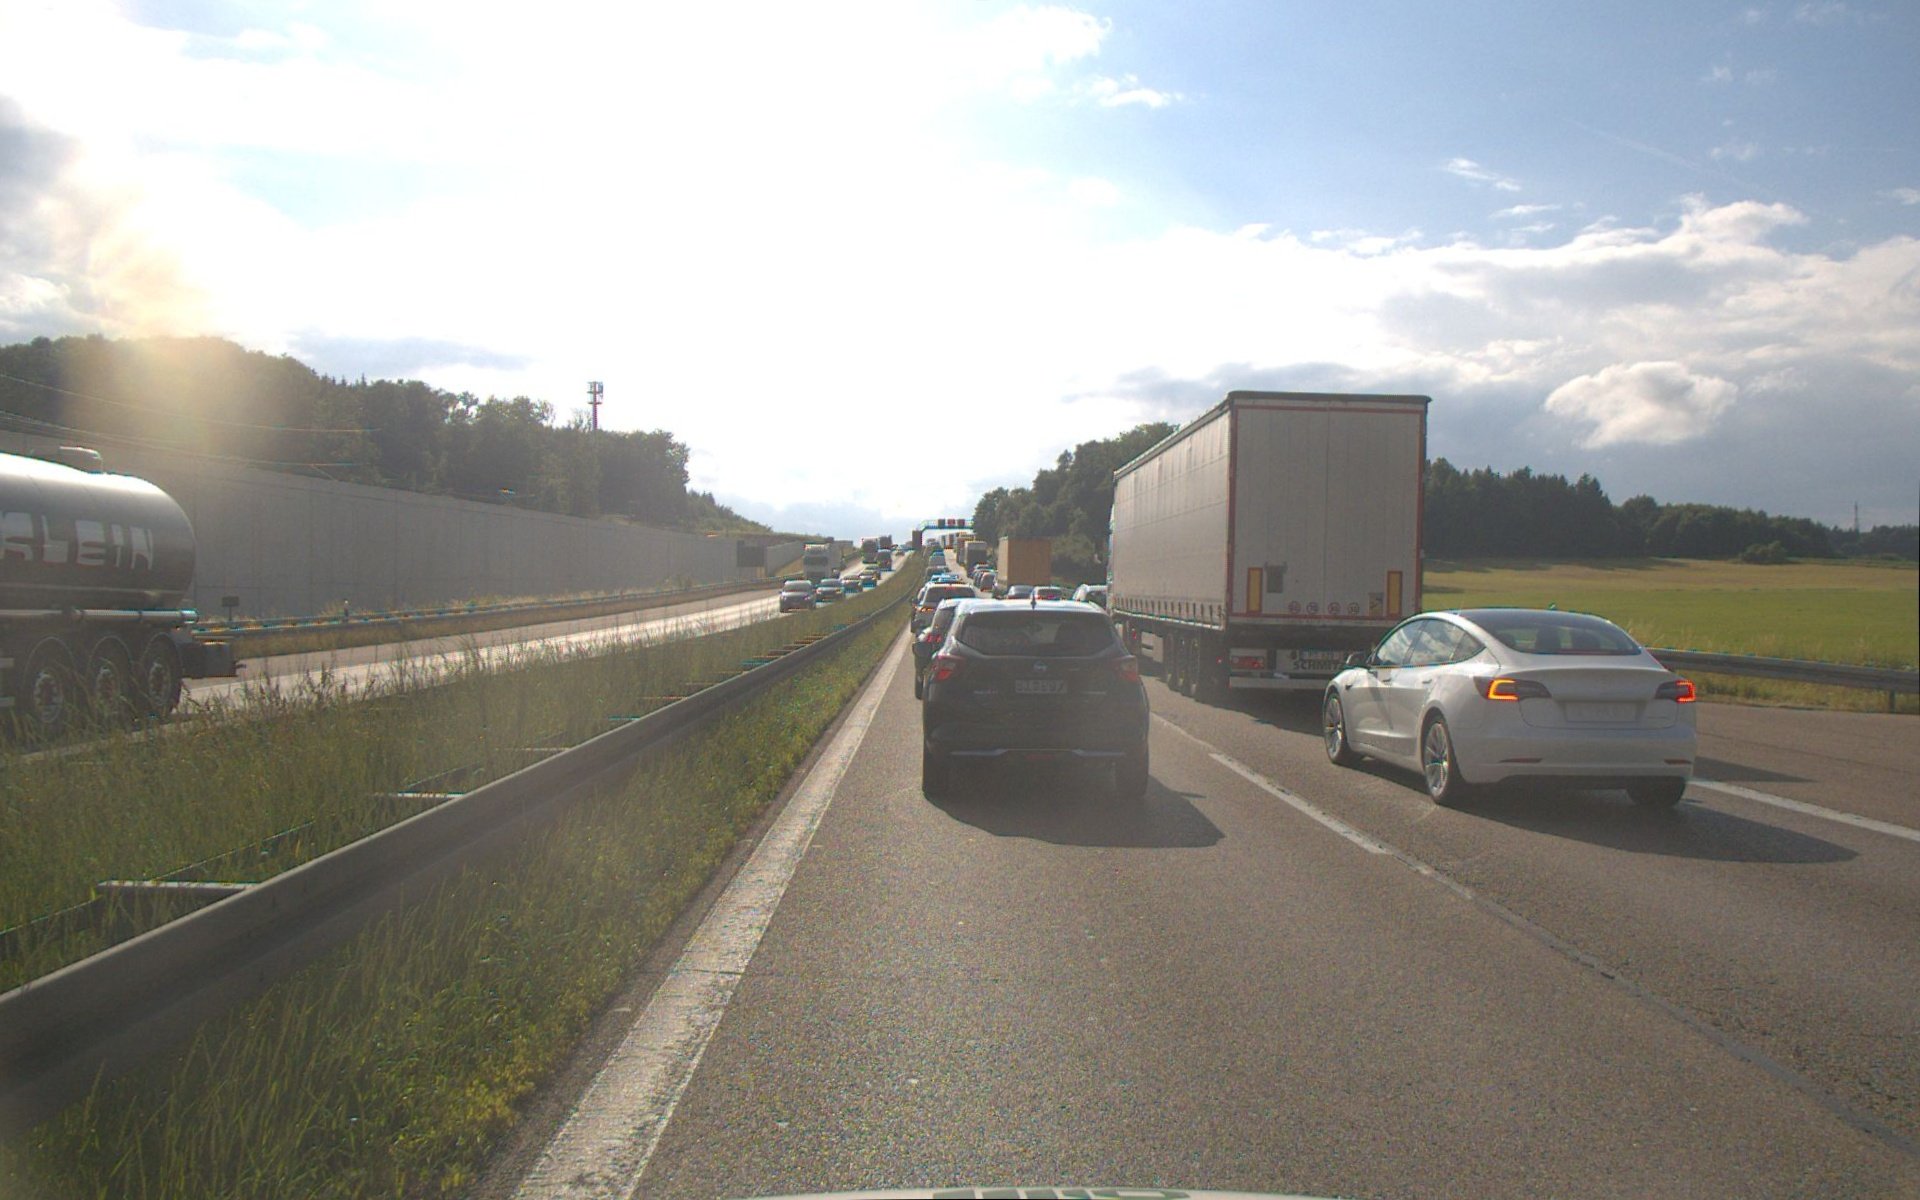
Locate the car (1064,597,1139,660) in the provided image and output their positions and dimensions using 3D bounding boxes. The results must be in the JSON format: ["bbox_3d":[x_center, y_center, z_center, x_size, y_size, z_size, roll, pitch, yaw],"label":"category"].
[{"bbox_3d":[3.770,0.735,44.704,1.663,1.639,4.437,0,0,0],"label":"car"}]

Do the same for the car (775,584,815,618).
[{"bbox_3d":[-8.934,0.052,89.784,1.744,1.767,4.101,0,0,-1],"label":"car"}]

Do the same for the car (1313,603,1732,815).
[{"bbox_3d":[4.342,0.758,13.574,1.753,1.418,4.434,0,0,-3],"label":"car"}]

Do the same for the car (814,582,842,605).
[{"bbox_3d":[-9.015,-0.418,113.193,1.663,1.525,4.426,0,0,-1],"label":"car"}]

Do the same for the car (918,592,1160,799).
[{"bbox_3d":[0.543,0.685,13.930,1.737,1.476,4.231,0,0,-1],"label":"car"}]

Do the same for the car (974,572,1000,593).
[{"bbox_3d":[2.309,-1.527,143.028,1.836,1.673,4.229,0,2,-4],"label":"car"}]

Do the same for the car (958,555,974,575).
[{"bbox_3d":[0.741,-4.231,200.240,1.835,2.196,5.211,0,3,-1],"label":"car"}]

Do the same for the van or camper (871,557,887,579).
[{"bbox_3d":[-11.272,-4.442,231.036,2.047,2.869,5.894,1,-1,-1],"label":"van or camper"}]

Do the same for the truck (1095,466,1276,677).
[{"bbox_3d":[4.640,-0.525,35.029,3.069,4.086,5.163,1,-1,0],"label":"truck"}]

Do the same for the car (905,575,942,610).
[{"bbox_3d":[-1.818,-0.407,83.042,1.835,1.673,4.232,0,1,-1],"label":"car"}]

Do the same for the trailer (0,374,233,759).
[{"bbox_3d":[-11.179,-0.327,17.273,2.535,3.970,10.862,-1,0,-1],"label":"trailer"}]

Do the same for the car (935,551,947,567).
[{"bbox_3d":[-2.876,-6.245,252.181,1.835,2.196,5.211,0,3,-1],"label":"car"}]

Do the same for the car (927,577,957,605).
[{"bbox_3d":[-1.098,-0.582,102.190,1.835,1.673,4.232,0,2,-1],"label":"car"}]

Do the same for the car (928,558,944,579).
[{"bbox_3d":[-2.719,-3.604,187.622,1.835,2.196,5.211,0,3,-1],"label":"car"}]

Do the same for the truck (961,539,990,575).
[{"bbox_3d":[2.065,-5.819,225.719,3.394,4.656,12.437,1,1,-2],"label":"truck"}]

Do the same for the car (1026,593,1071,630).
[{"bbox_3d":[4.138,0.538,77.890,1.835,1.673,4.231,0,0,-1],"label":"car"}]

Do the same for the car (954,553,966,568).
[{"bbox_3d":[-0.011,-6.046,255.412,1.835,2.196,5.211,0,3,-1],"label":"car"}]

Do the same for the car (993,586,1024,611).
[{"bbox_3d":[3.265,-0.110,112.026,1.836,1.673,4.230,0,1,-3],"label":"car"}]

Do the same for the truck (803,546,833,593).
[{"bbox_3d":[-13.294,-2.858,155.291,2.332,4.254,5.931,0,0,-1],"label":"truck"}]

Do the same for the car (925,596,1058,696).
[{"bbox_3d":[0.409,0.635,24.862,1.835,1.381,4.231,0,0,-1],"label":"car"}]

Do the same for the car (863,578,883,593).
[{"bbox_3d":[-8.505,-1.388,161.966,1.706,1.381,4.231,0,0,-1],"label":"car"}]

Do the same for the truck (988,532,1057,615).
[{"bbox_3d":[3.658,-1.474,100.858,3.230,4.657,12.434,1,-1,-2],"label":"truck"}]

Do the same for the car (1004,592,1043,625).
[{"bbox_3d":[3.341,0.408,87.262,1.835,1.673,4.232,0,1,-1],"label":"car"}]

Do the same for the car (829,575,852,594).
[{"bbox_3d":[-10.216,-1.312,141.571,1.733,1.505,3.828,0,0,0],"label":"car"}]

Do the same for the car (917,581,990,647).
[{"bbox_3d":[-0.177,0.356,43.716,1.835,1.673,4.231,0,0,-1],"label":"car"}]

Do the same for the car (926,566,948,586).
[{"bbox_3d":[-2.044,-2.113,143.640,1.835,1.673,4.231,0,2,-2],"label":"car"}]

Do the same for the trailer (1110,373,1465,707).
[{"bbox_3d":[4.659,-0.642,27.082,3.067,4.081,13.364,1,-1,0],"label":"trailer"}]
